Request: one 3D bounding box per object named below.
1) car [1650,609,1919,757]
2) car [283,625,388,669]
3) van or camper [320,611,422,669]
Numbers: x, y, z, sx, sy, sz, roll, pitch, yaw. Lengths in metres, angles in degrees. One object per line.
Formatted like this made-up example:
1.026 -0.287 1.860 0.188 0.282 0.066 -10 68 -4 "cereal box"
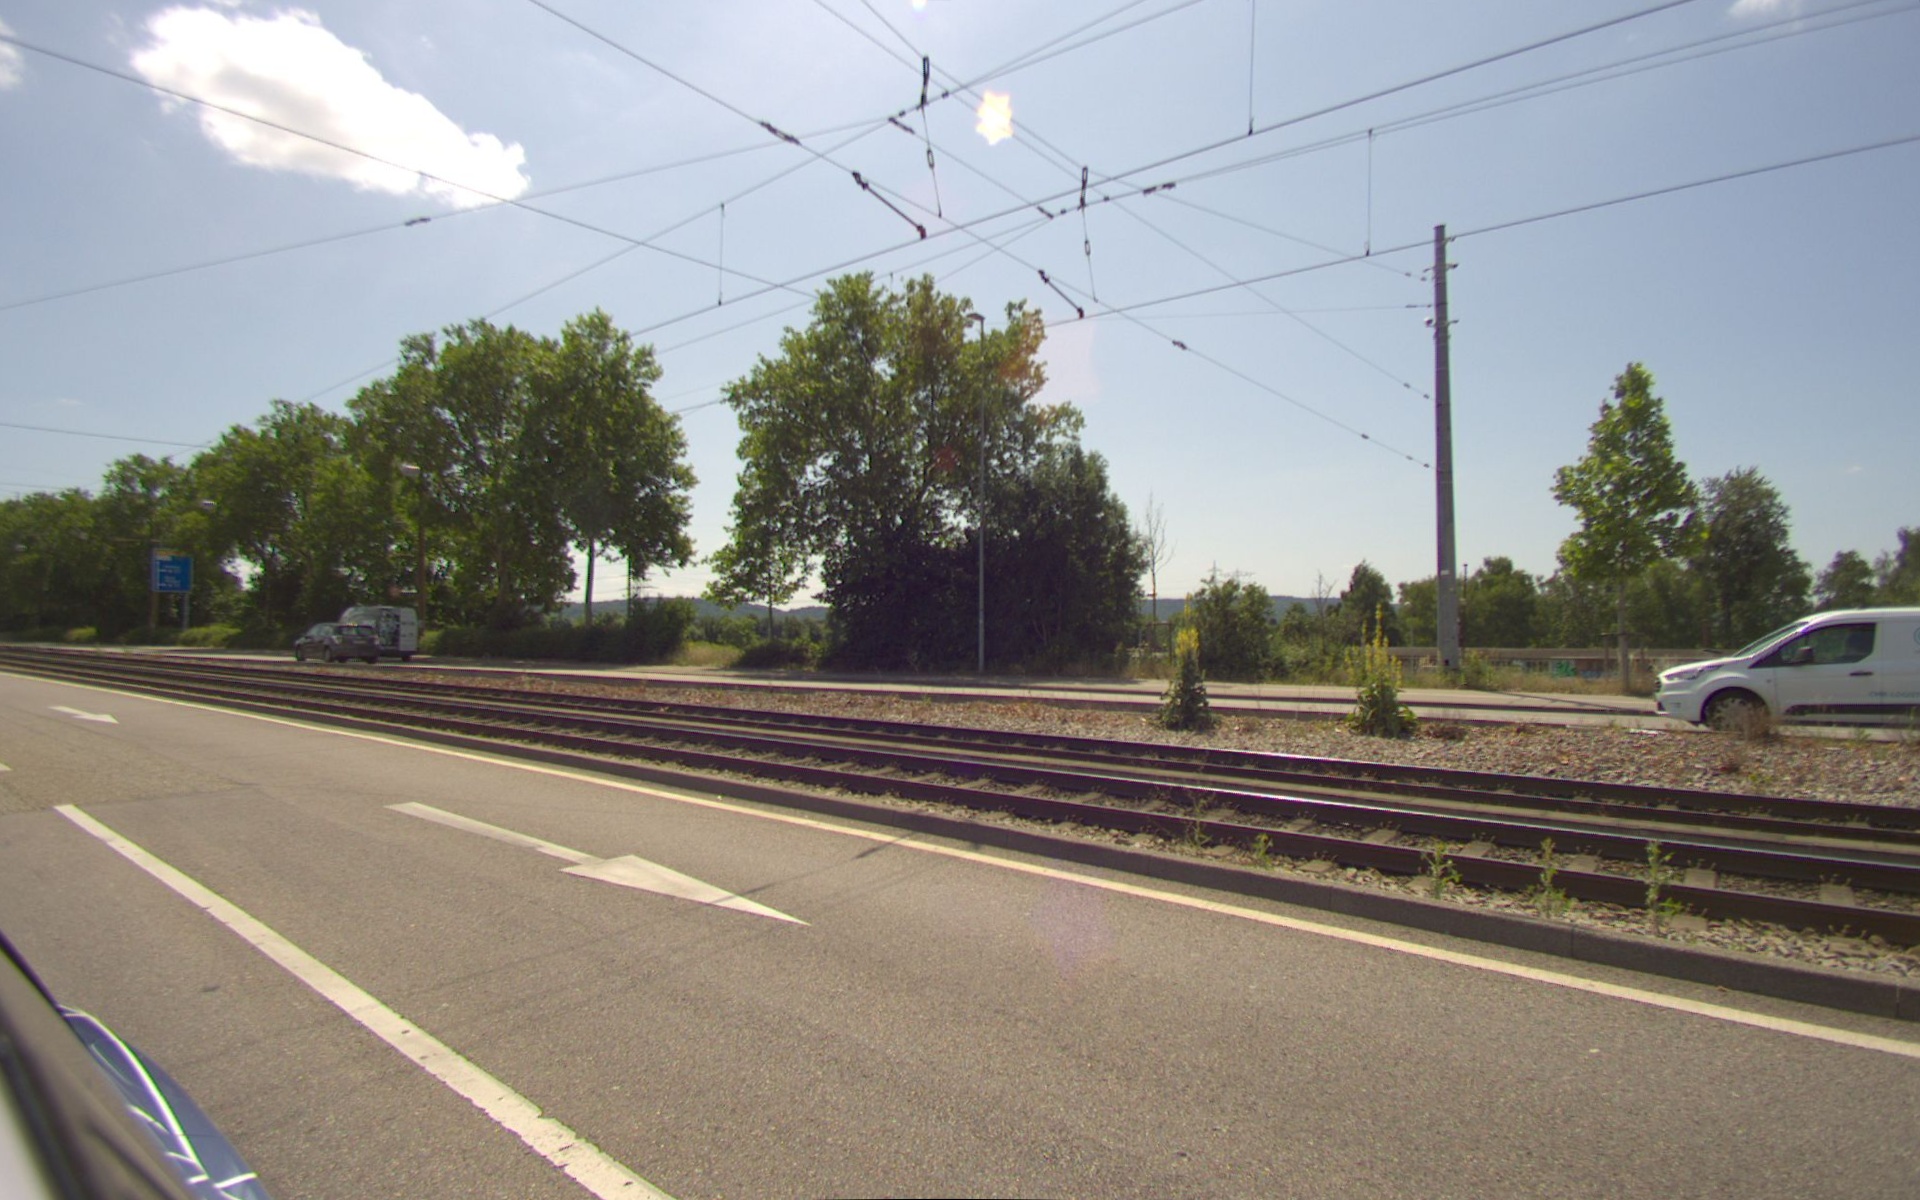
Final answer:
12.162 1.062 13.788 4.418 1.852 1.978 -2 -1 32 "car"
-24.866 1.887 40.279 4.255 1.649 1.976 -2 -5 35 "car"
-27.973 1.899 48.026 5.833 2.606 1.975 -1 -3 37 "van or camper"
